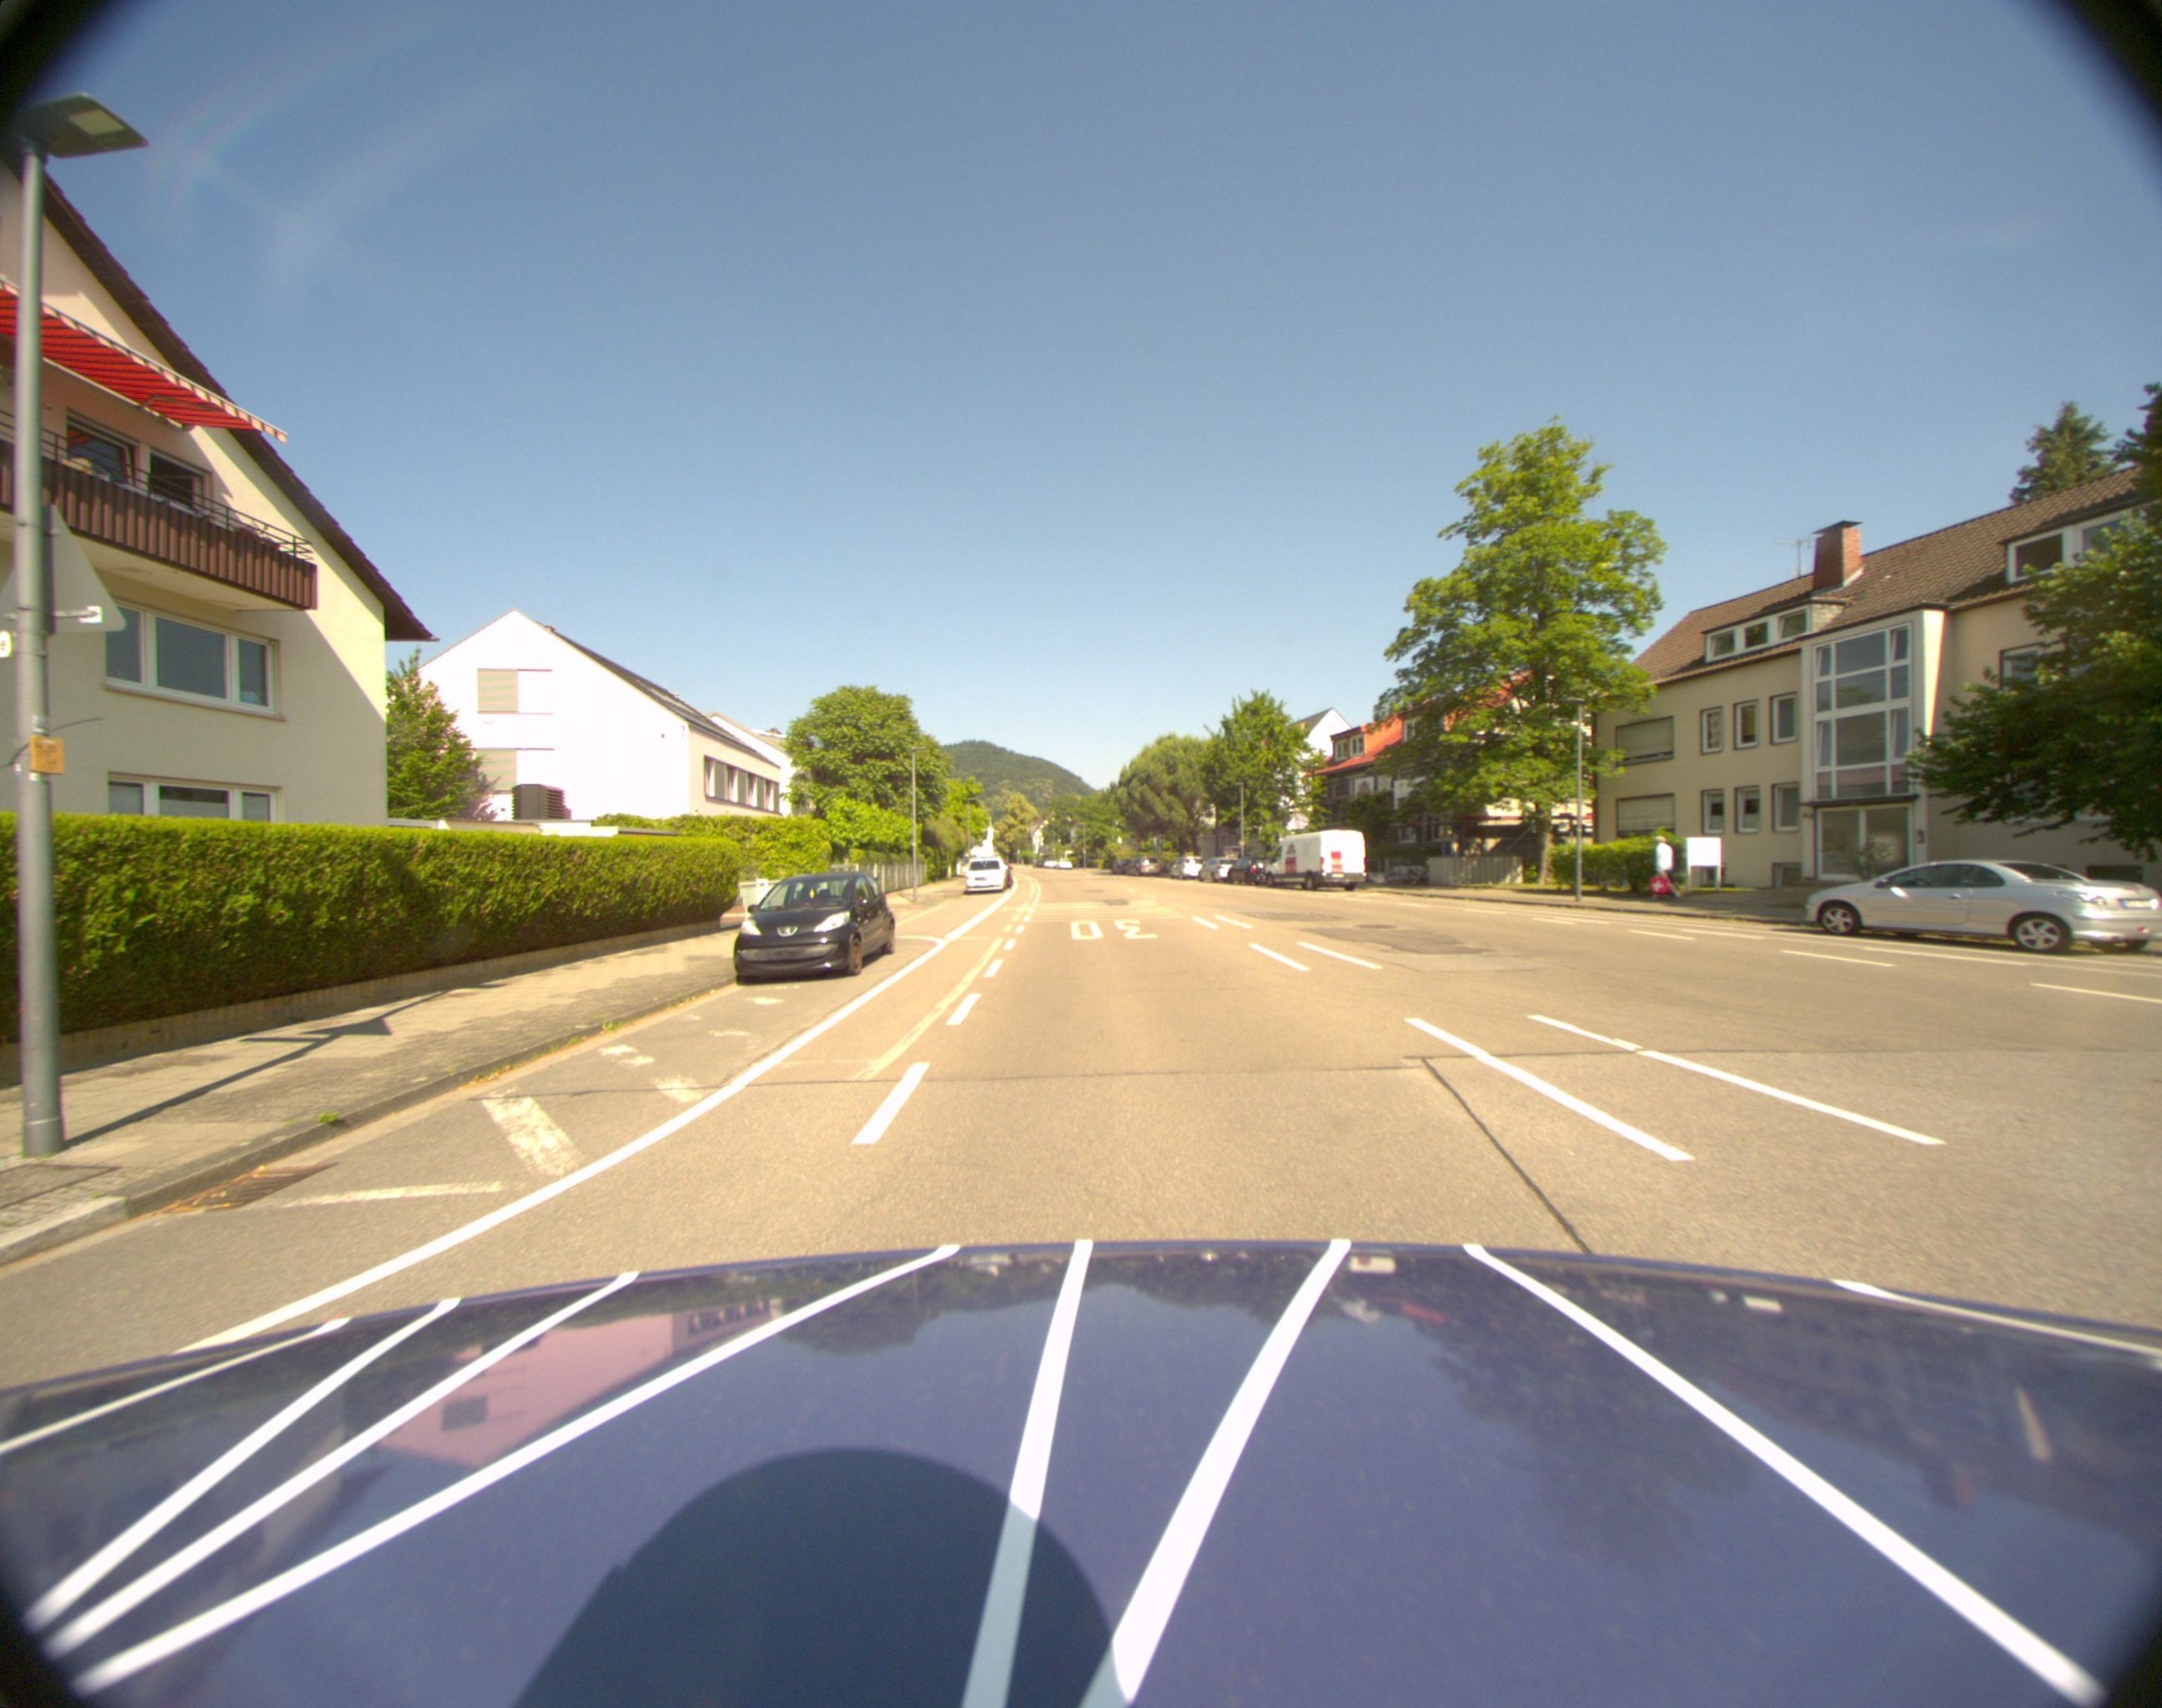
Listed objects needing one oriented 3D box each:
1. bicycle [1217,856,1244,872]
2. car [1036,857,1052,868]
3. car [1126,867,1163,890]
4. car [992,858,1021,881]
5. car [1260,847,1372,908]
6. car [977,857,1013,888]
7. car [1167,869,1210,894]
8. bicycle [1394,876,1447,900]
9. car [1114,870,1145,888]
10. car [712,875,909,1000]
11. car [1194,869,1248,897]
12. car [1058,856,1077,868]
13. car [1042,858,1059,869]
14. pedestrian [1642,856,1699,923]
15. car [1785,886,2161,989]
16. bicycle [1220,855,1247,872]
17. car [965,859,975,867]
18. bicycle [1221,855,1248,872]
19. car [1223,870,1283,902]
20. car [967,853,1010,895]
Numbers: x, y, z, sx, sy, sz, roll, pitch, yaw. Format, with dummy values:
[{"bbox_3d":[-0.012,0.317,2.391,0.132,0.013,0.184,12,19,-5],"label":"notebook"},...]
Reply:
[{"bbox_3d":[12.545,0.851,63.877,2.179,1.375,0.502,0,0,-13],"label":"bicycle"},{"bbox_3d":[-5.928,1.344,121.357,2.000,1.674,3.997,-1,0,-9],"label":"car"},{"bbox_3d":[5.091,1.945,61.277,1.847,1.754,4.582,0,-1,-10],"label":"car"},{"bbox_3d":[-5.518,1.150,56.883,1.817,1.550,4.786,-4,0,-3],"label":"car"},{"bbox_3d":[10.253,0.998,33.780,2.096,2.482,5.947,0,-1,-12],"label":"car"},{"bbox_3d":[-4.741,1.020,42.453,1.767,1.584,4.312,-1,-1,-4],"label":"car"},{"bbox_3d":[7.107,1.797,50.481,1.726,1.549,3.997,0,-1,-9],"label":"car"},{"bbox_3d":[15.446,1.543,34.553,2.074,0.995,0.775,-1,0,-7],"label":"bicycle"},{"bbox_3d":[4.218,2.149,66.664,1.847,1.448,4.190,0,-1,-10],"label":"car"},{"bbox_3d":[-3.937,1.129,11.786,1.621,1.382,3.999,-4,0,-1],"label":"car"},{"bbox_3d":[8.116,1.651,44.450,1.726,1.549,4.669,0,-1,-9],"label":"car"},{"bbox_3d":[-1.861,1.085,100.751,1.960,1.543,3.996,-1,0,-9],"label":"car"},{"bbox_3d":[-4.525,1.433,113.169,2.000,1.608,3.997,-1,0,-9],"label":"car"},{"bbox_3d":[16.093,0.957,20.757,0.976,1.769,0.725,-1,0,-5],"label":"pedestrian"},{"bbox_3d":[14.254,1.202,12.302,1.726,1.259,3.997,0,-1,-9],"label":"car"},{"bbox_3d":[12.461,0.778,62.185,2.179,1.375,0.502,0,0,-13],"label":"bicycle"},{"bbox_3d":[-25.268,1.975,172.838,2.001,1.696,3.995,-1,0,-14],"label":"car"},{"bbox_3d":[12.679,0.797,62.801,2.179,1.375,0.502,0,0,-13],"label":"bicycle"},{"bbox_3d":[8.884,1.609,39.666,1.726,1.549,3.997,0,-1,-9],"label":"car"},{"bbox_3d":[-4.458,0.899,37.188,1.767,1.816,4.596,-3,1,-4],"label":"car"}]
